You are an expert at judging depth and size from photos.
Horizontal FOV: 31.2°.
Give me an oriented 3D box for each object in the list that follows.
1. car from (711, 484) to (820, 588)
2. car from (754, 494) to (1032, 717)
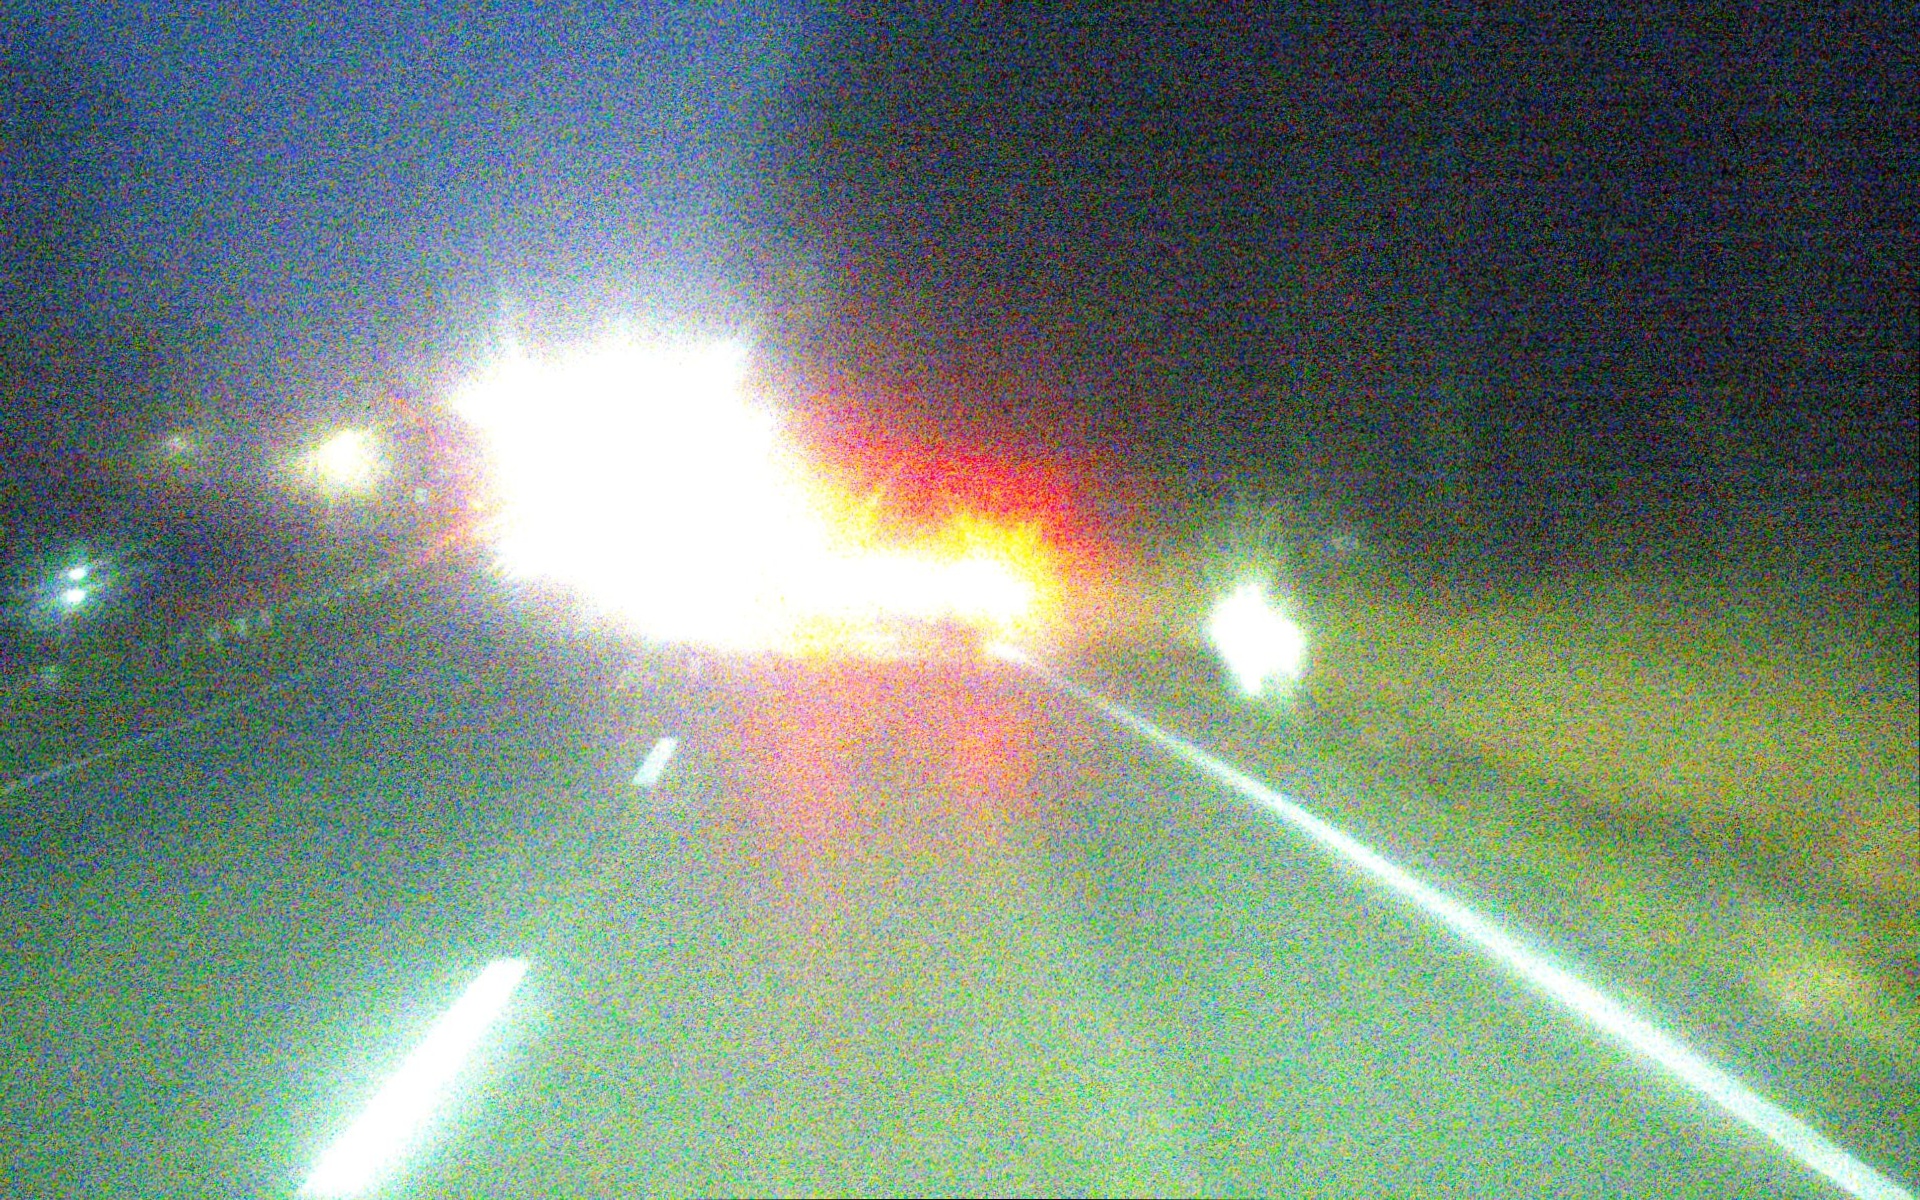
[{"bbox_3d":[-4.090,-1.346,71.707,1.993,2.007,4.001,3,1,-6],"label":"car"},{"bbox_3d":[-0.740,0.009,33.382,2.457,1.952,4.912,1,1,-3],"label":"car"}]
